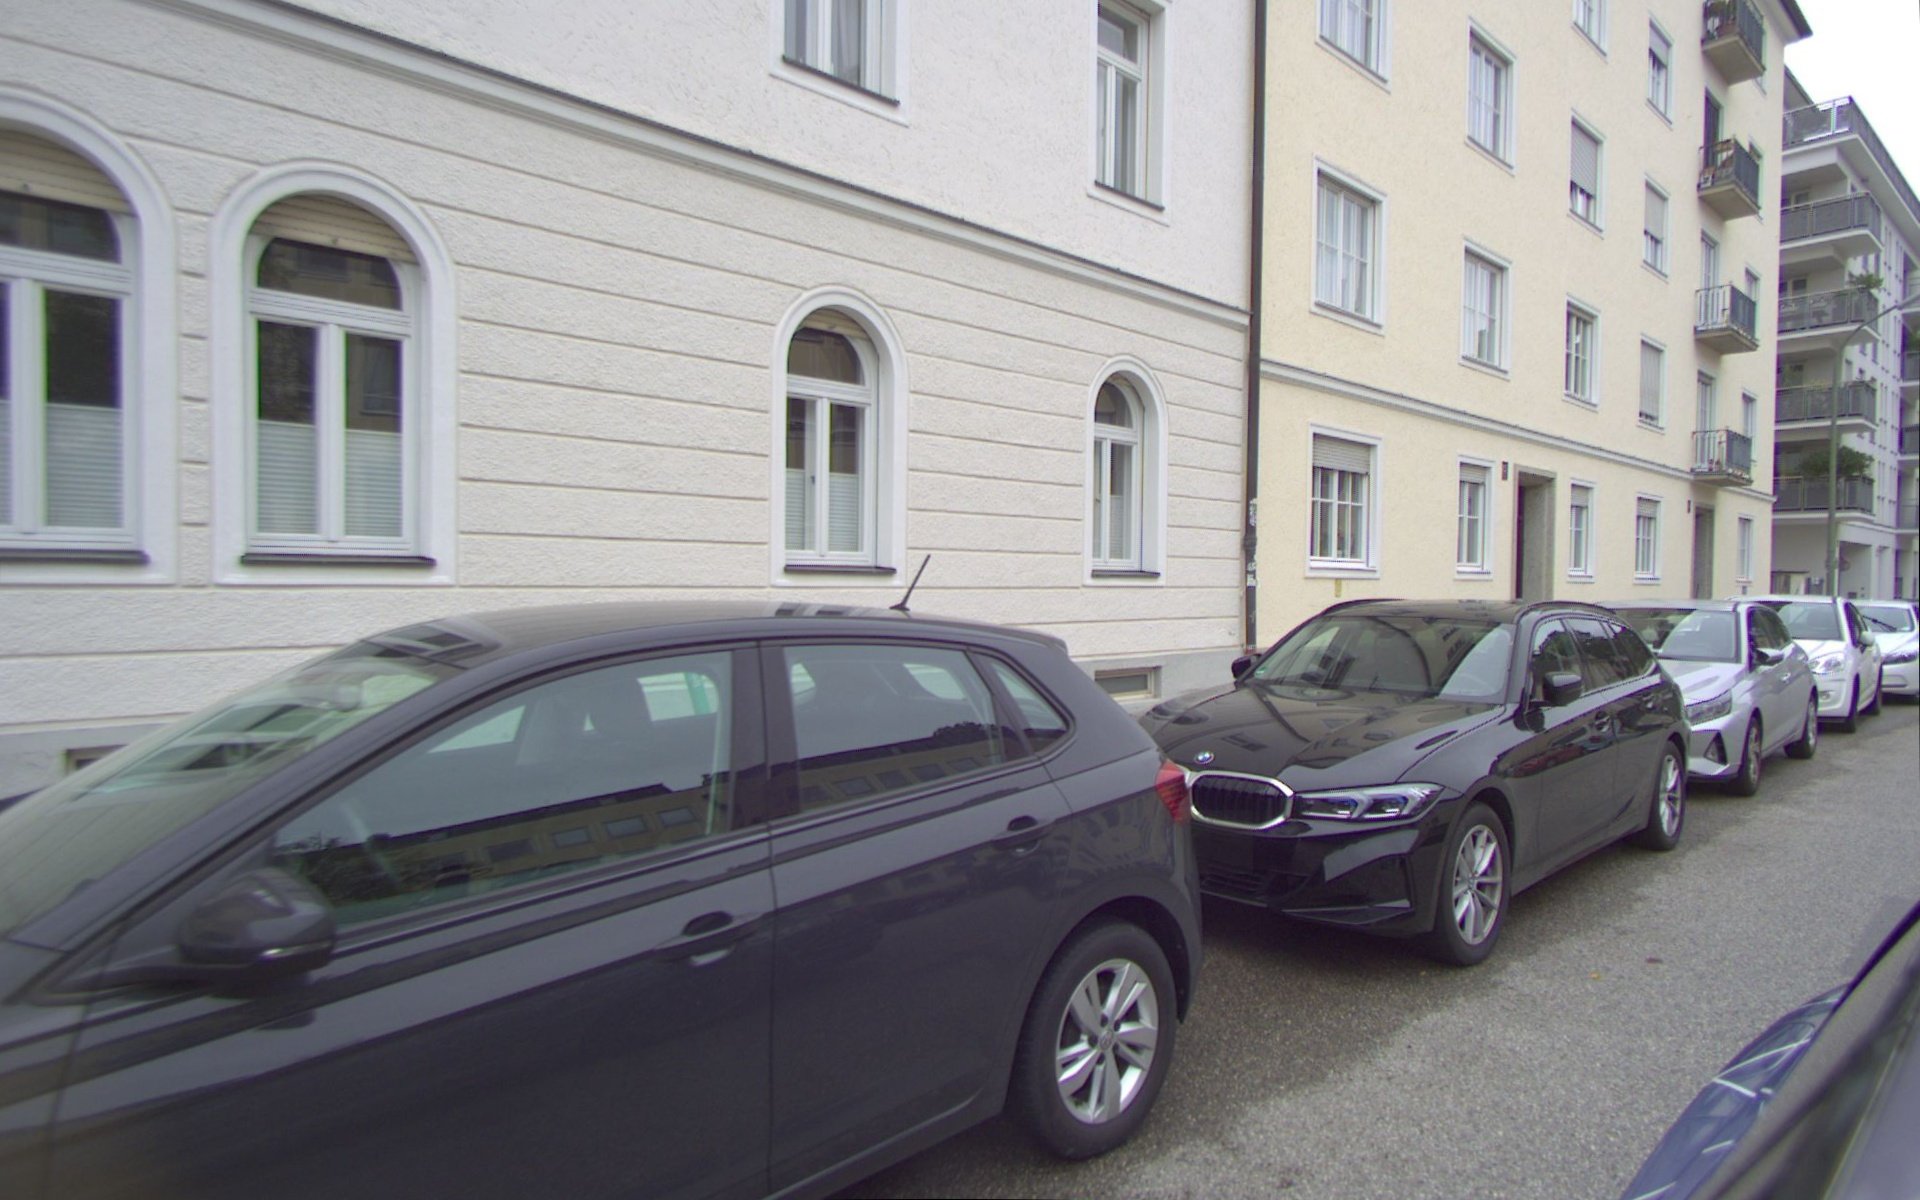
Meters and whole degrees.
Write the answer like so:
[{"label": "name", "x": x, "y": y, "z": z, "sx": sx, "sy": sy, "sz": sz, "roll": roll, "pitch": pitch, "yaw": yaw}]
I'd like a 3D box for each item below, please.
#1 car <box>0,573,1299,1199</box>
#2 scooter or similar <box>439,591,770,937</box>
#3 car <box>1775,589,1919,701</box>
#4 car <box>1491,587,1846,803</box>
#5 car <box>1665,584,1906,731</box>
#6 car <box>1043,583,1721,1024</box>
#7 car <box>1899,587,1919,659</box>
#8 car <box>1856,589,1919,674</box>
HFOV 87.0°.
[{"label": "car", "x": -0.993, "y": 0.665, "z": 2.513, "sx": 4.016, "sy": 1.445, "sz": 1.682, "roll": -1, "pitch": 2, "yaw": -41}, {"label": "scooter or similar", "x": -1.393, "y": 0.562, "z": 4.065, "sx": 1.153, "sy": 1.178, "sz": 0.485, "roll": -1, "pitch": 1, "yaw": -43}, {"label": "car", "x": 13.815, "y": 0.570, "z": 15.235, "sx": 4.366, "sy": 1.427, "sz": 1.682, "roll": -1, "pitch": 2, "yaw": -41}, {"label": "car", "x": 6.367, "y": 0.622, "z": 8.908, "sx": 4.096, "sy": 1.445, "sz": 1.681, "roll": -1, "pitch": 2, "yaw": -42}, {"label": "car", "x": 10.218, "y": 0.562, "z": 12.419, "sx": 4.096, "sy": 1.500, "sz": 1.681, "roll": -1, "pitch": 2, "yaw": -42}, {"label": "car", "x": 2.534, "y": 0.641, "z": 5.429, "sx": 4.316, "sy": 1.445, "sz": 1.681, "roll": -1, "pitch": 2, "yaw": -42}, {"label": "car", "x": 22.016, "y": 0.489, "z": 22.205, "sx": 3.757, "sy": 1.516, "sz": 1.682, "roll": -1, "pitch": 2, "yaw": -41}, {"label": "car", "x": 18.035, "y": 0.522, "z": 18.688, "sx": 4.345, "sy": 1.427, "sz": 1.682, "roll": -1, "pitch": 2, "yaw": -41}]
